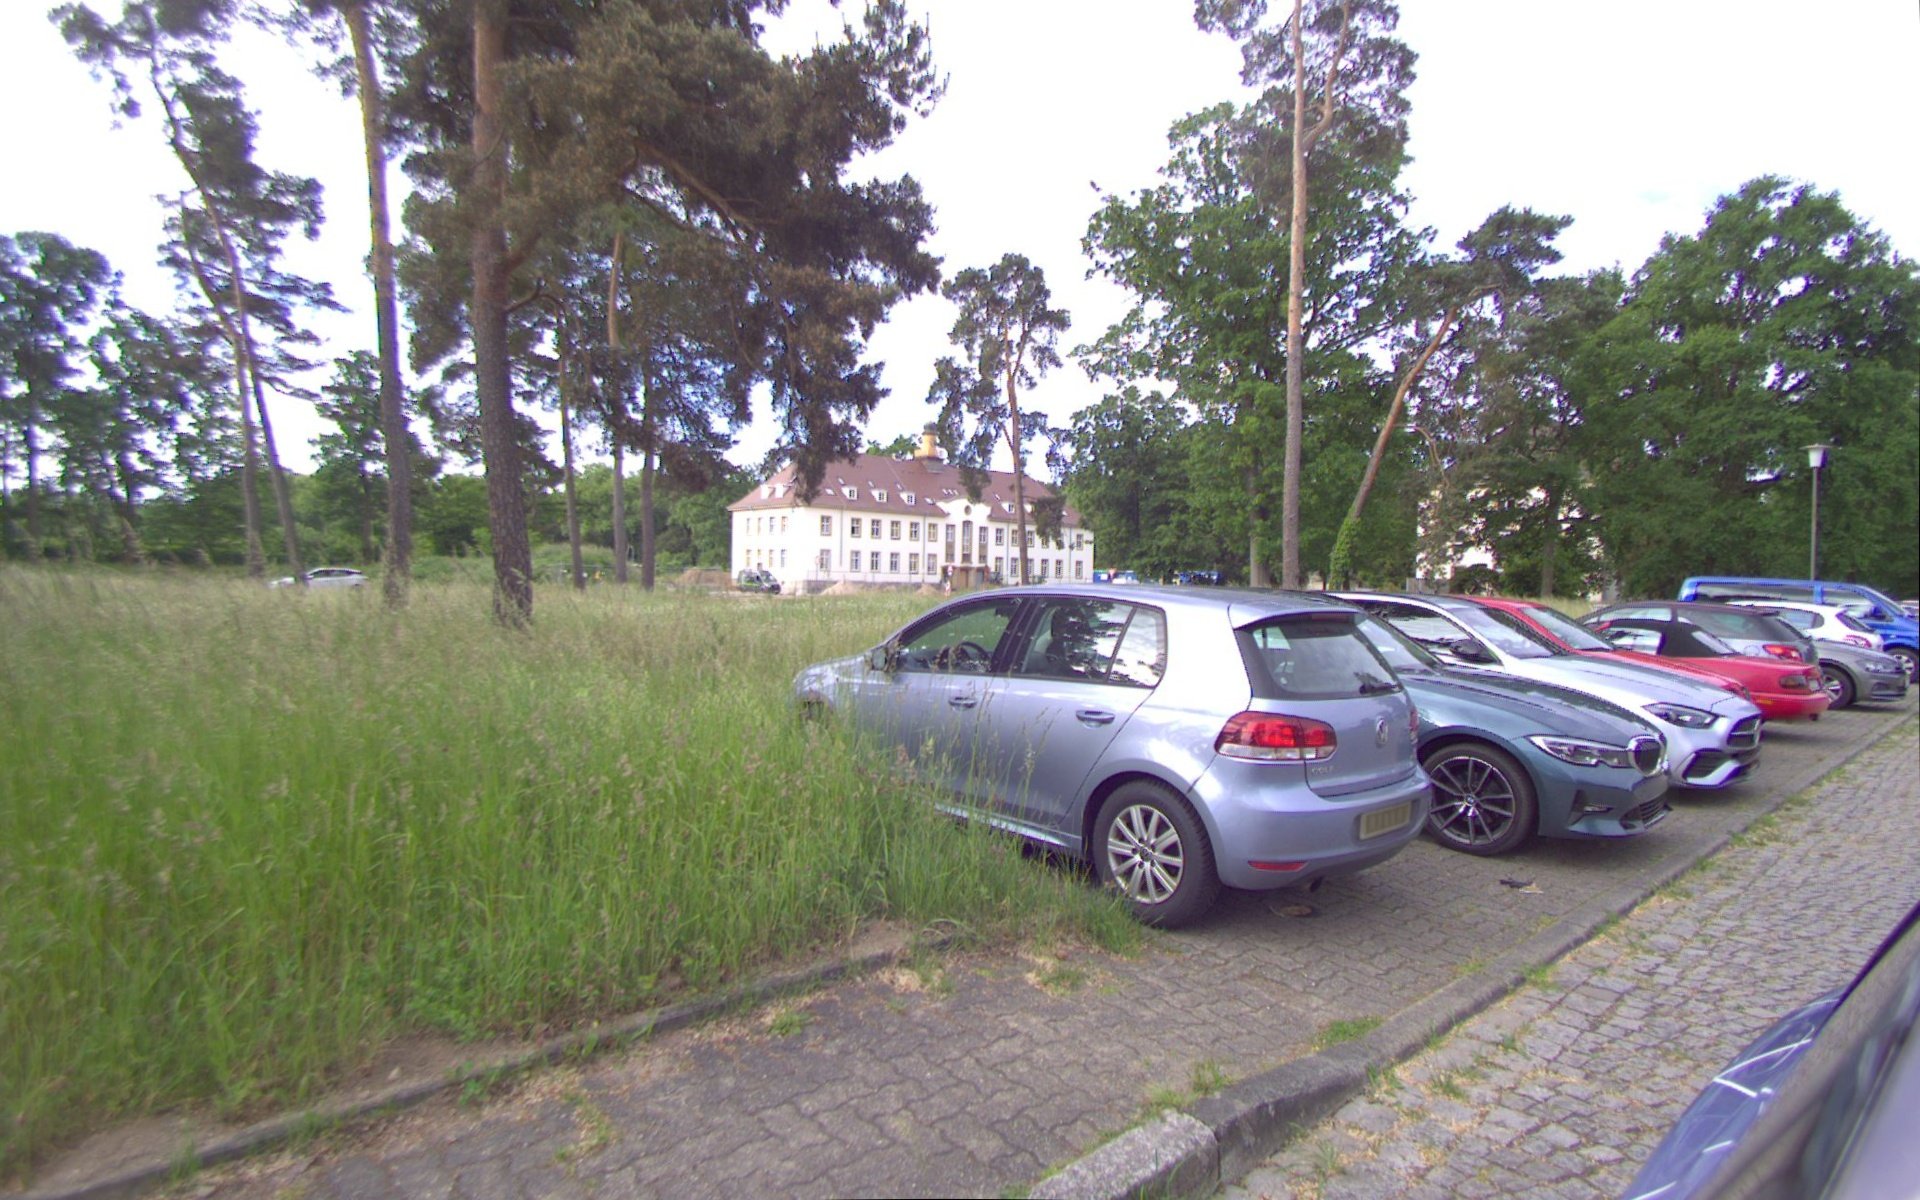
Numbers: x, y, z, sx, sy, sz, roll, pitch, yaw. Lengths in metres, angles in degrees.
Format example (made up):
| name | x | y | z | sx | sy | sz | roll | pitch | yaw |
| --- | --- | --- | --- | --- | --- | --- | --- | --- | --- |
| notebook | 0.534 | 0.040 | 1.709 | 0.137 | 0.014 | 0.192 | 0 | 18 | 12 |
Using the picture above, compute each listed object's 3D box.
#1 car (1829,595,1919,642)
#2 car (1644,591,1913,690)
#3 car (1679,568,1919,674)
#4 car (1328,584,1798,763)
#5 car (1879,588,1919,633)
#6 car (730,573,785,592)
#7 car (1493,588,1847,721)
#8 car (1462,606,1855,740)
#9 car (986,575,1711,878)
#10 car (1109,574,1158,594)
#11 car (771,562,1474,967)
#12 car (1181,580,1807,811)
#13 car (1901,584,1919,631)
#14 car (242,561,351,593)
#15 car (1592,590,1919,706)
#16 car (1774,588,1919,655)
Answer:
| name | x | y | z | sx | sy | sz | roll | pitch | yaw |
| --- | --- | --- | --- | --- | --- | --- | --- | --- | --- |
| car | 32.098 | 0.612 | 34.129 | 1.965 | 1.549 | 3.994 | 0 | 0 | -40 |
| car | 14.217 | 0.620 | 17.703 | 1.608 | 1.470 | 3.408 | 0 | 1 | -40 |
| car | 18.216 | 0.373 | 21.231 | 1.965 | 1.963 | 4.746 | 0 | 2 | -41 |
| car | 6.255 | 0.613 | 10.858 | 1.768 | 1.470 | 3.970 | 0 | 2 | -41 |
| car | 39.784 | 0.473 | 40.638 | 1.964 | 1.784 | 4.007 | 0 | 1 | -39 |
| car | -21.533 | -1.906 | 107.462 | 6.170 | 1.882 | 2.305 | 2 | 2 | 40 |
| car | 9.825 | 0.643 | 14.204 | 1.769 | 1.524 | 3.782 | 0 | 2 | -43 |
| car | 8.161 | 0.751 | 12.082 | 1.468 | 1.222 | 3.599 | 1 | 1 | -40 |
| car | 2.491 | 0.608 | 7.540 | 1.732 | 1.501 | 4.762 | 0 | 2 | -44 |
| car | 18.324 | -1.725 | 106.693 | 5.129 | 2.039 | 2.154 | 0 | 1 | -39 |
| car | 0.607 | 0.571 | 5.738 | 1.578 | 1.444 | 3.771 | 1 | 2 | -41 |
| car | 4.533 | 0.617 | 9.313 | 1.780 | 1.501 | 4.766 | 0 | 2 | -40 |
| car | 43.175 | 0.378 | 43.320 | 1.964 | 2.039 | 3.996 | 0 | 1 | -39 |
| car | -31.866 | -1.098 | 48.664 | 4.183 | 1.433 | 1.885 | -1 | 2 | -41 |
| car | 12.291 | 0.630 | 15.685 | 1.787 | 1.474 | 3.850 | 0 | 1 | -38 |
| car | 24.655 | 0.549 | 27.215 | 1.965 | 1.630 | 3.995 | 0 | 2 | -40 |
